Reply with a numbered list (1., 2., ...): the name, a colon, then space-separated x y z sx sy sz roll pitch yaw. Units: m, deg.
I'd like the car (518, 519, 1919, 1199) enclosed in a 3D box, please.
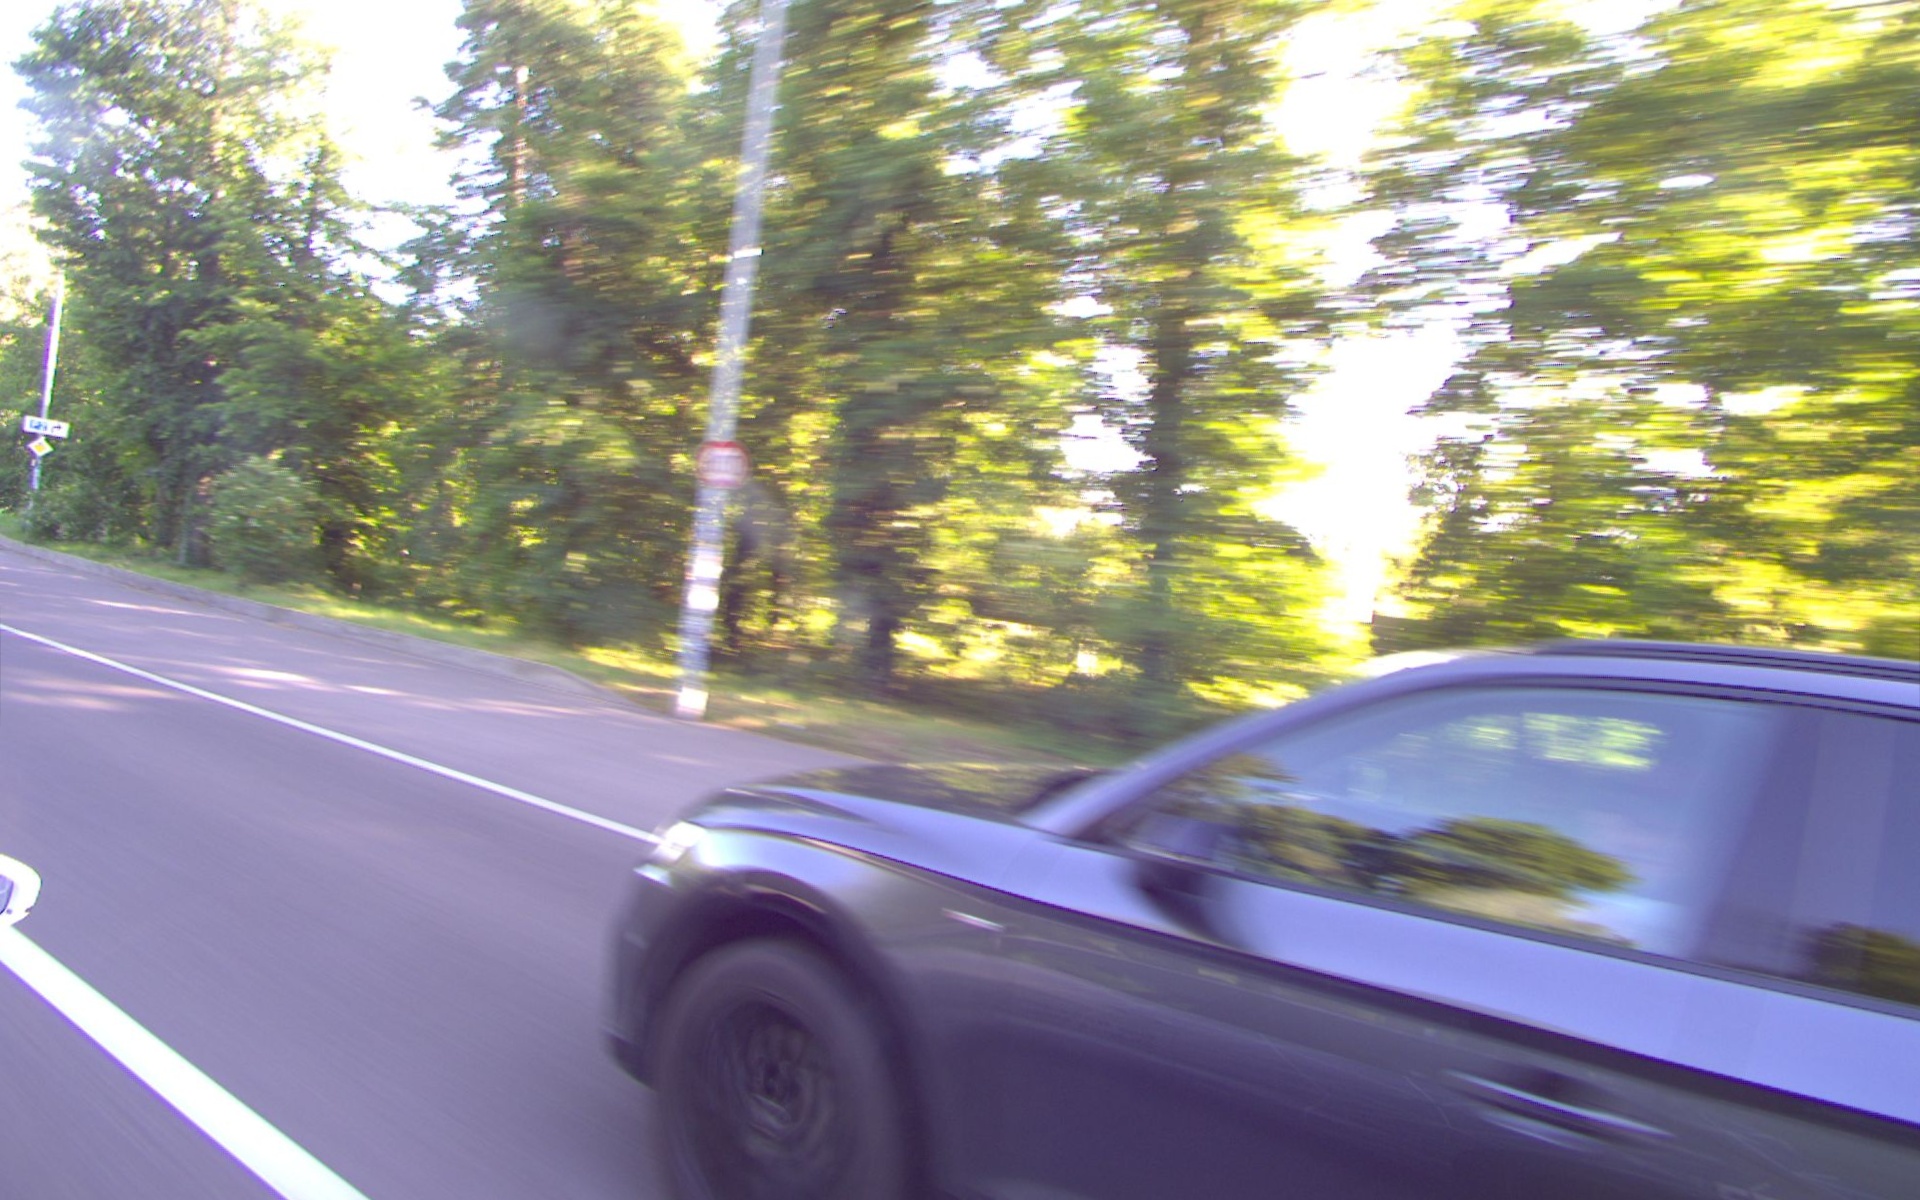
1. car: 1.372 0.923 2.203 4.468 1.623 1.897 7 -2 31
